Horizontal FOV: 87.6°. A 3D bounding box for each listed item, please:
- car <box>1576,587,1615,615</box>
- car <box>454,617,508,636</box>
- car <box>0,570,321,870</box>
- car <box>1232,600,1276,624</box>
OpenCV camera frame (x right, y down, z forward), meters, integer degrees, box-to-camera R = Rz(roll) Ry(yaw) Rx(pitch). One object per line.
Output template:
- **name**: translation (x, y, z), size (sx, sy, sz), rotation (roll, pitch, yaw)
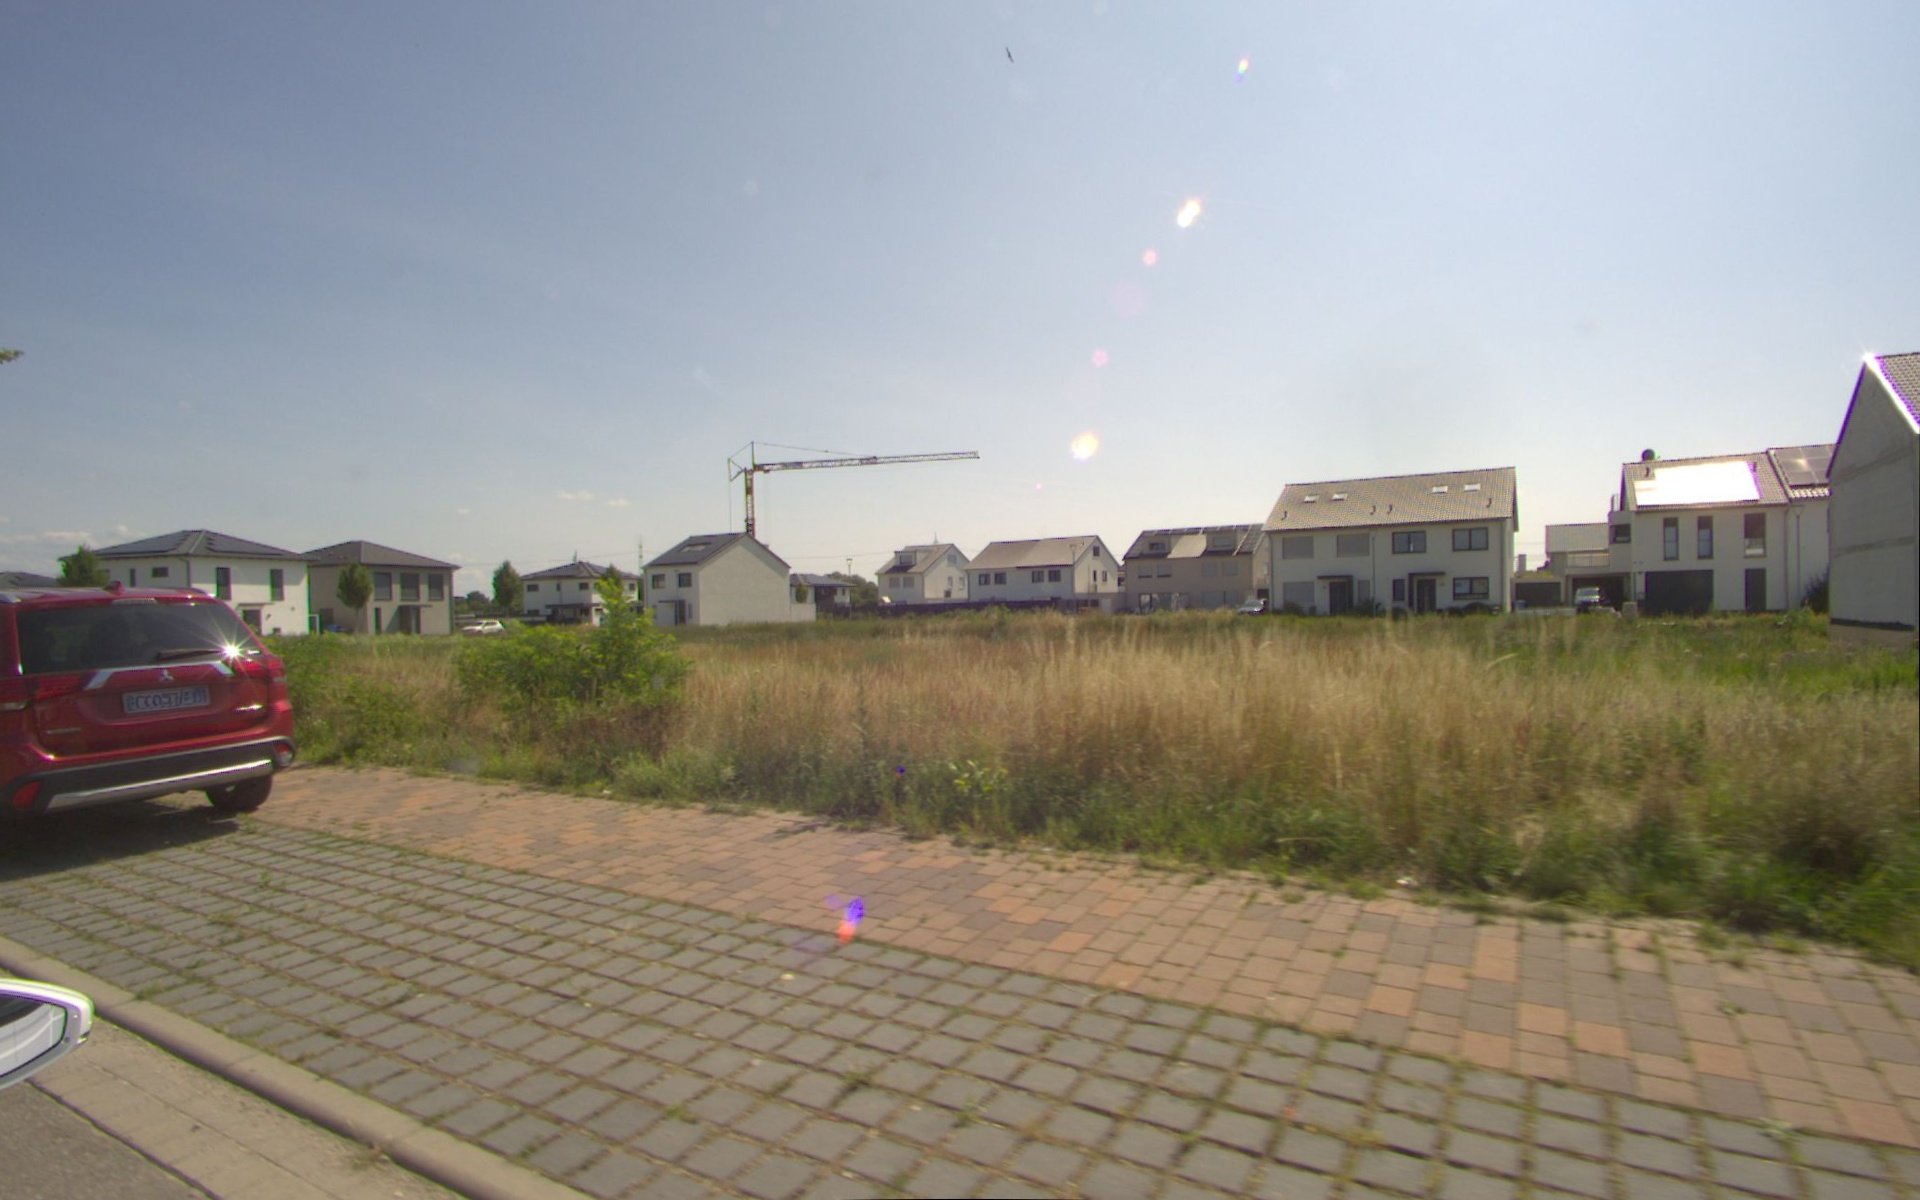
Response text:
- **car**: translation (37.318, 0.071, 58.789), size (1.791, 1.532, 3.975), rotation (-1, 0, 35)
- **car**: translation (-39.372, 2.161, 82.464), size (1.719, 1.416, 3.993), rotation (-2, -1, 18)
- **car**: translation (-6.856, 0.683, 7.424), size (4.369, 1.686, 1.773), rotation (-1, 1, 31)
- **car**: translation (20.569, 0.821, 70.076), size (1.791, 1.594, 3.975), rotation (-1, 0, 35)
